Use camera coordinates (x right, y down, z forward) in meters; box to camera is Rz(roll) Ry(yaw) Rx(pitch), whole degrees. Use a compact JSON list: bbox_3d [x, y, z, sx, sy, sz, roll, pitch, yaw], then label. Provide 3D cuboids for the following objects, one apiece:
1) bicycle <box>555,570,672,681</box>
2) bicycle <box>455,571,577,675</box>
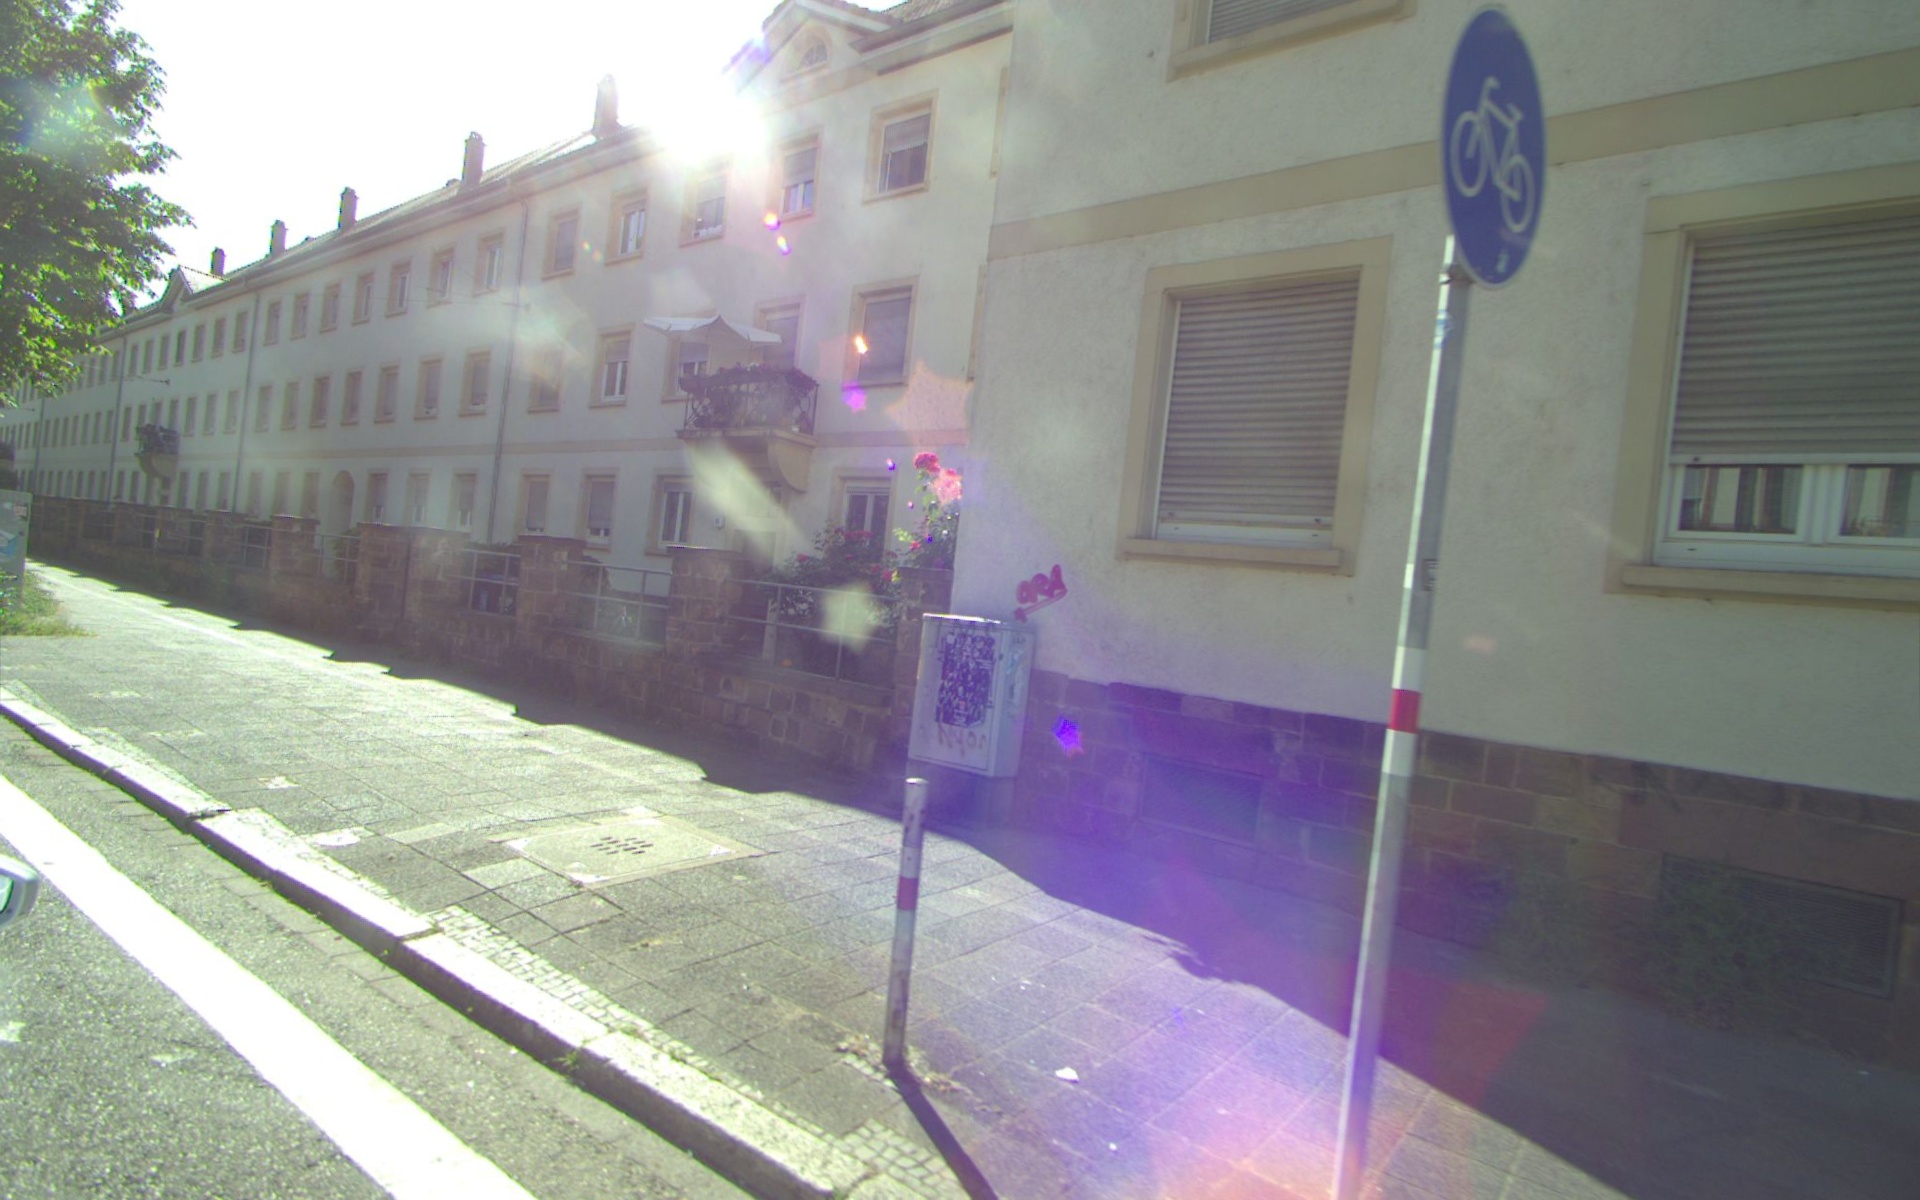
[{"bbox_3d":[-4.768,0.333,13.790,1.646,1.315,0.459,6,-2,34],"label":"bicycle"},{"bbox_3d":[-5.576,0.272,12.594,1.646,1.105,0.459,6,-2,34],"label":"bicycle"}]
